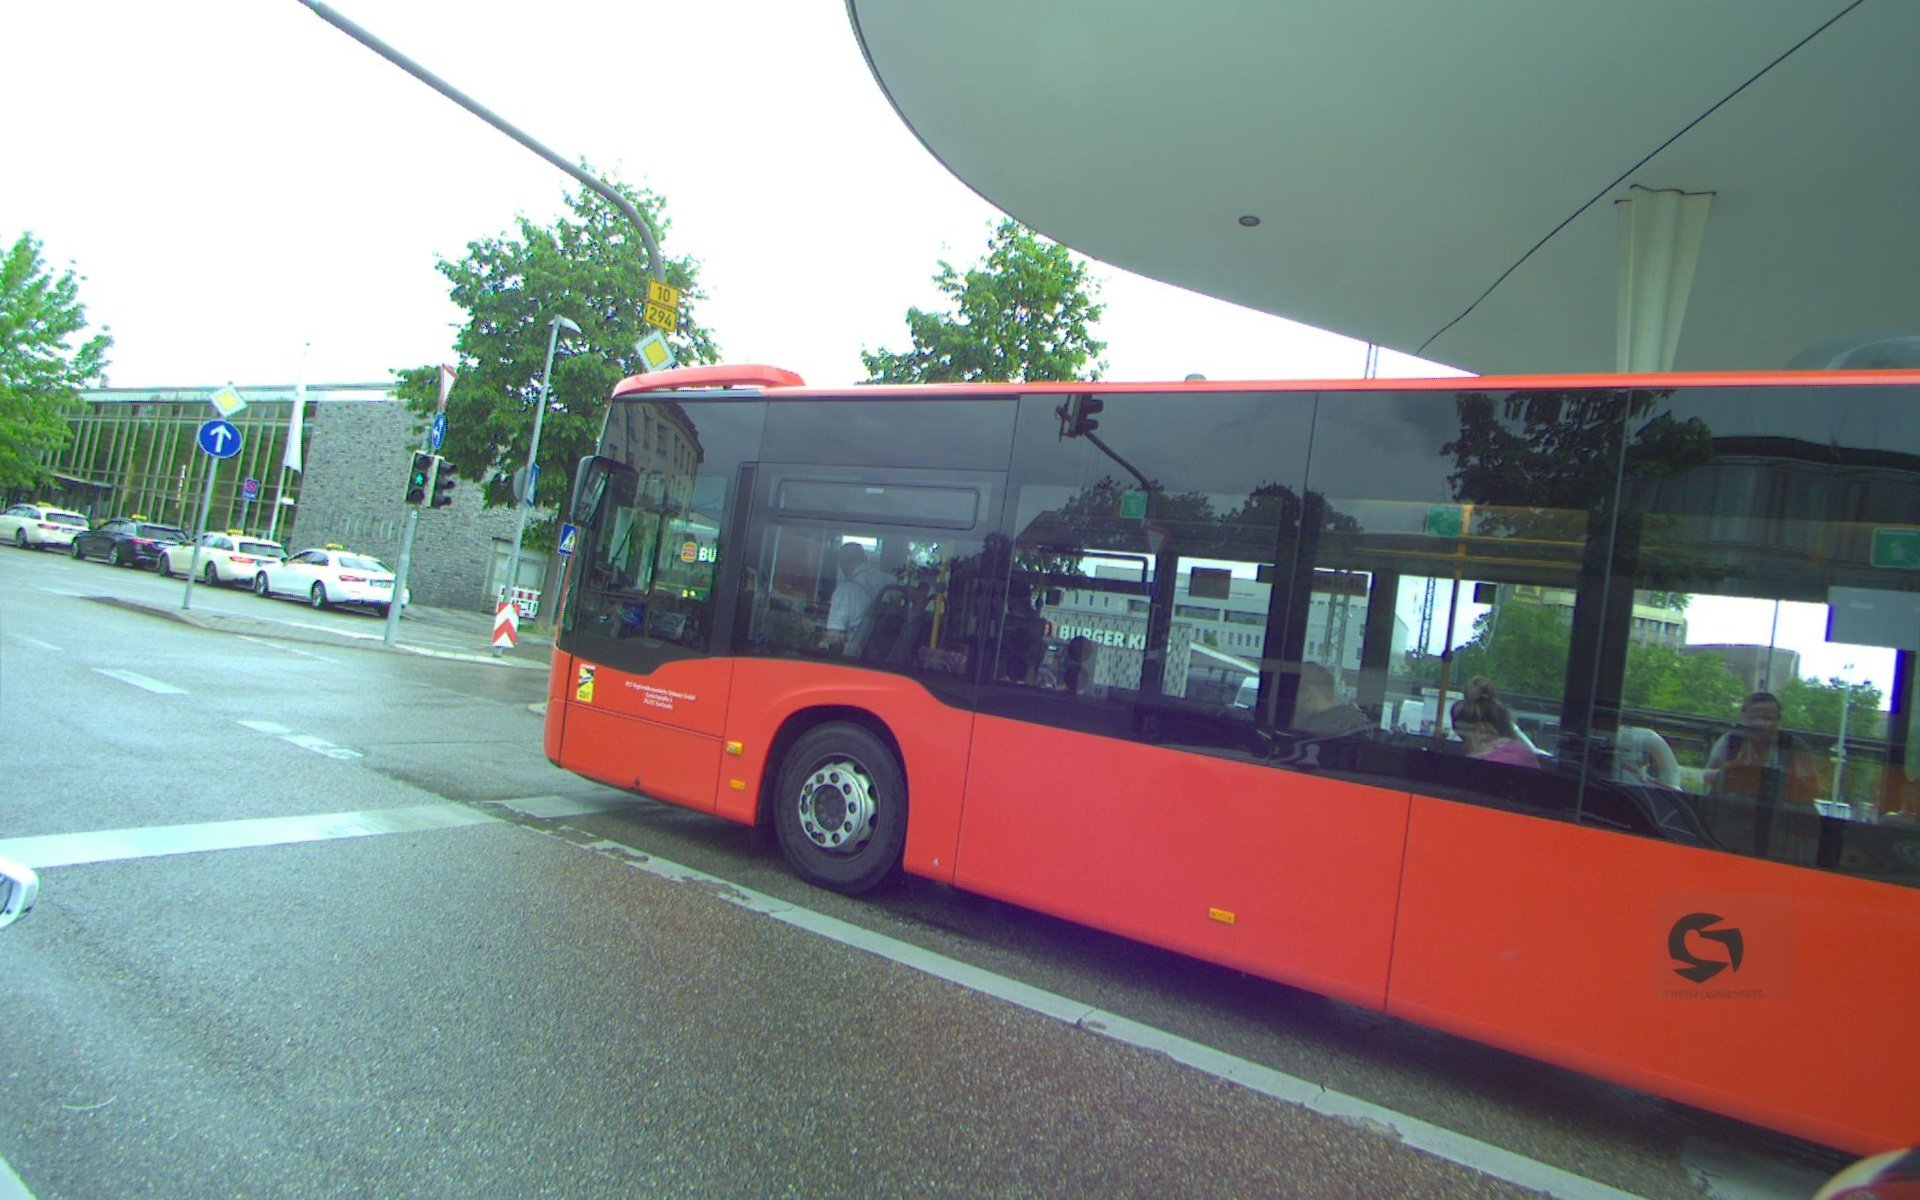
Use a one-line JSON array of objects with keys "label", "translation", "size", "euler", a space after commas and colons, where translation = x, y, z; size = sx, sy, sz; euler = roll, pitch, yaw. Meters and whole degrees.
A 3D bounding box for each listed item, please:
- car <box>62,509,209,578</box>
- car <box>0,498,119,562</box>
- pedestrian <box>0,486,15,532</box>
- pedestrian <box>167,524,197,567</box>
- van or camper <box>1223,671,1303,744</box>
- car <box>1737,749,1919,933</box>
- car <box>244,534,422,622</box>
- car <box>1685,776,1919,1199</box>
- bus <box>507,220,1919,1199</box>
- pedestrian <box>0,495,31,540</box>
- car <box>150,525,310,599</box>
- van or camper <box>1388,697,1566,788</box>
[{"label": "car", "translation": [-25.898, -1.787, 31.566], "size": [4.661, 1.542, 1.918], "euler": [7, -2, 30]}, {"label": "car", "translation": [-31.492, -2.476, 34.577], "size": [4.736, 1.618, 2.000], "euler": [7, -2, 25]}, {"label": "pedestrian", "translation": [-52.573, -5.009, 55.030], "size": [0.848, 2.439, 0.844], "euler": [7, -1, 34]}, {"label": "pedestrian", "translation": [-32.254, -2.248, 41.695], "size": [0.703, 1.665, 0.565], "euler": [7, -1, 27]}, {"label": "van or camper", "translation": [12.471, 4.379, 41.056], "size": [2.072, 2.491, 5.975], "euler": [7, -3, 25]}, {"label": "car", "translation": [11.161, 2.802, 10.606], "size": [4.359, 1.666, 1.806], "euler": [7, -4, 32]}, {"label": "car", "translation": [-15.916, -0.570, 25.498], "size": [4.538, 1.608, 1.779], "euler": [7, -2, 30]}, {"label": "car", "translation": [3.200, 1.256, 0.560], "size": [4.362, 1.496, 1.750], "euler": [6, -4, 32]}, {"label": "bus", "translation": [2.092, 0.336, 5.333], "size": [10.025, 3.210, 2.749], "euler": [7, -2, 32]}, {"label": "pedestrian", "translation": [-46.354, -4.064, 49.332], "size": [0.814, 2.037, 0.771], "euler": [7, -1, 30]}, {"label": "car", "translation": [-20.640, -1.073, 28.393], "size": [4.588, 1.468, 1.851], "euler": [7, -2, 30]}, {"label": "van or camper", "translation": [20.267, 5.531, 39.588], "size": [5.873, 2.491, 2.108], "euler": [7, -2, 32]}]
